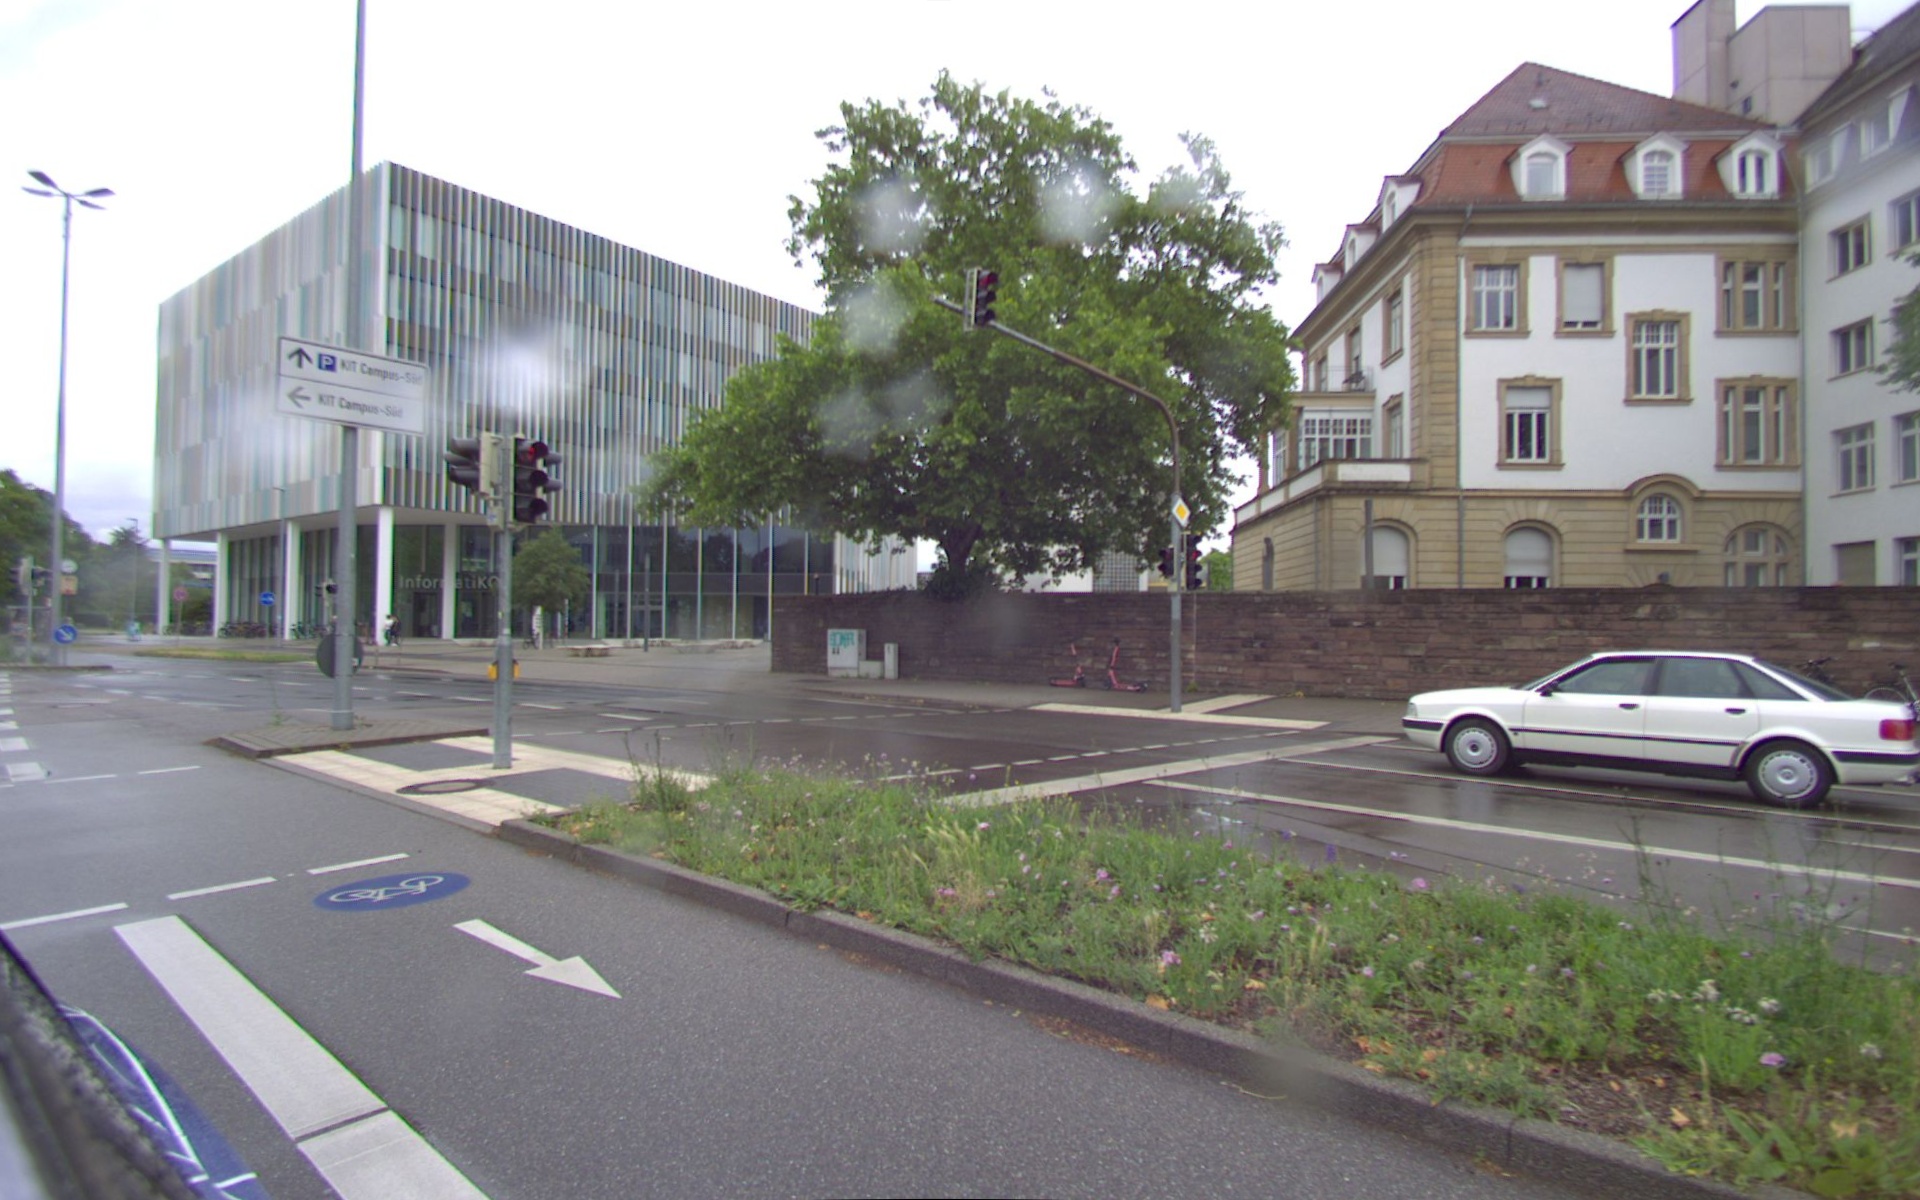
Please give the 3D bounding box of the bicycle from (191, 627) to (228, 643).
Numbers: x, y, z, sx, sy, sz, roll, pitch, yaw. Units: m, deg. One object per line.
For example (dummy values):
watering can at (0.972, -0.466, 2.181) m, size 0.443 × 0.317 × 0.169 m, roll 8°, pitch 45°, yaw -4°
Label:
bicycle at (-59.061, 2.739, 79.634) m, size 2.250 × 1.231 × 0.600 m, roll 2°, pitch -3°, yaw -40°

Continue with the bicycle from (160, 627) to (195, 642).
bicycle at (-64.699, 2.831, 83.654) m, size 2.250 × 1.231 × 0.600 m, roll 2°, pitch -3°, yaw -40°

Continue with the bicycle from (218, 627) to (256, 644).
bicycle at (-53.410, 2.617, 74.773) m, size 2.250 × 1.231 × 0.600 m, roll 2°, pitch -3°, yaw -40°

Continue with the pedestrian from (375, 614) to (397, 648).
pedestrian at (-31.876, 1.728, 56.194) m, size 0.619 × 1.838 × 0.782 m, roll 0°, pitch -2°, yaw 17°

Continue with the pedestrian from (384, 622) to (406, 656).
pedestrian at (-30.931, 2.150, 55.414) m, size 0.619 × 1.838 × 0.782 m, roll 0°, pitch -2°, yaw 17°

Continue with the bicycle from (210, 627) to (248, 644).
bicycle at (-54.782, 2.662, 75.878) m, size 2.250 × 1.231 × 0.600 m, roll 2°, pitch -3°, yaw -40°

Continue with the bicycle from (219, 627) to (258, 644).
bicycle at (-52.866, 2.600, 74.137) m, size 2.250 × 1.231 × 0.600 m, roll 2°, pitch -3°, yaw -40°

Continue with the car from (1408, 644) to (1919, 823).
car at (7.158, 1.212, 10.289) m, size 4.522 × 1.426 × 1.579 m, roll -1°, pitch -4°, yaw 42°

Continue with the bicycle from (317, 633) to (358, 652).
bicycle at (-40.638, 2.766, 66.089) m, size 0.596 × 1.231 × 2.264 m, roll -1°, pitch -2°, yaw 28°

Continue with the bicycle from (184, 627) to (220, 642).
bicycle at (-60.585, 2.770, 80.895) m, size 2.250 × 1.231 × 0.600 m, roll 2°, pitch -3°, yaw -40°

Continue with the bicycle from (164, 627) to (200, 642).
bicycle at (-62.992, 2.786, 81.932) m, size 2.250 × 1.231 × 0.600 m, roll 2°, pitch -3°, yaw -40°

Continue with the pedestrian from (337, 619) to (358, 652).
pedestrian at (-34.643, 2.018, 57.254) m, size 0.908 × 1.838 × 0.942 m, roll 2°, pitch -3°, yaw -34°

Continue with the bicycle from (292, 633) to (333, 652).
bicycle at (-42.716, 2.771, 66.745) m, size 0.596 × 1.231 × 2.264 m, roll -1°, pitch -2°, yaw 28°

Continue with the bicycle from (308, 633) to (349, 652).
bicycle at (-41.314, 2.766, 66.235) m, size 0.596 × 1.231 × 2.264 m, roll -1°, pitch -2°, yaw 28°

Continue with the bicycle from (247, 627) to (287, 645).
bicycle at (-49.312, 2.556, 72.018) m, size 2.250 × 1.231 × 0.600 m, roll 2°, pitch -3°, yaw -40°

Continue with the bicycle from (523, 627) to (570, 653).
bicycle at (-20.220, 1.944, 49.536) m, size 0.596 × 1.231 × 2.264 m, roll -1°, pitch -2°, yaw 28°

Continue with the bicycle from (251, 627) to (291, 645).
bicycle at (-48.504, 2.538, 71.292) m, size 2.250 × 1.231 × 0.600 m, roll 2°, pitch -3°, yaw -40°

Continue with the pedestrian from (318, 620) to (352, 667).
pedestrian at (-24.839, 1.730, 40.243) m, size 0.789 × 1.838 × 0.782 m, roll 0°, pitch -2°, yaw 17°

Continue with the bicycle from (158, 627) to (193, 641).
bicycle at (-66.318, 2.883, 85.545) m, size 2.250 × 1.231 × 0.600 m, roll 2°, pitch -3°, yaw -40°

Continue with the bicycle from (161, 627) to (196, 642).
bicycle at (-63.828, 2.804, 82.665) m, size 2.250 × 1.231 × 0.600 m, roll 2°, pitch -3°, yaw -40°

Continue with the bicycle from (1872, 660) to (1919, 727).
bicycle at (15.340, 1.460, 15.659) m, size 1.694 × 0.990 × 0.726 m, roll -1°, pitch -2°, yaw 30°

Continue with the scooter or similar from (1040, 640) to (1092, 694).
scooter or similar at (2.520, 1.579, 24.115) m, size 1.140 × 1.206 × 0.387 m, roll -1°, pitch 4°, yaw 36°

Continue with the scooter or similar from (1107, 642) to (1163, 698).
scooter or similar at (3.981, 1.578, 23.013) m, size 1.139 × 1.206 × 0.387 m, roll -1°, pitch 4°, yaw 35°

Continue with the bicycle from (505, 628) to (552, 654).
bicycle at (-21.227, 2.013, 49.859) m, size 0.596 × 1.231 × 2.264 m, roll -1°, pitch -2°, yaw 28°

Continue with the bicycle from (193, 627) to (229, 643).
bicycle at (-59.418, 2.759, 80.308) m, size 2.250 × 1.231 × 0.600 m, roll 2°, pitch -3°, yaw -40°

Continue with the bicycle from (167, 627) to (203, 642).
bicycle at (-62.293, 2.773, 81.391) m, size 2.250 × 1.231 × 0.600 m, roll 2°, pitch -3°, yaw -40°

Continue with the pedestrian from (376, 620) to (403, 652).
pedestrian at (-32.548, 2.055, 57.781) m, size 0.916 × 1.838 × 0.934 m, roll 0°, pitch -2°, yaw 17°

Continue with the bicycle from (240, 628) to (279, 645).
bicycle at (-50.745, 2.659, 73.341) m, size 2.250 × 1.231 × 0.600 m, roll 2°, pitch -3°, yaw -40°

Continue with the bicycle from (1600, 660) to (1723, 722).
bicycle at (12.240, 1.570, 17.717) m, size 1.694 × 0.990 × 0.726 m, roll -1°, pitch -2°, yaw 30°

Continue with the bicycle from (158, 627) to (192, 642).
bicycle at (-65.866, 2.865, 84.911) m, size 2.250 × 1.231 × 0.600 m, roll 2°, pitch -3°, yaw -40°

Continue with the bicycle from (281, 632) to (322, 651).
bicycle at (-43.722, 2.780, 67.247) m, size 0.596 × 1.231 × 2.264 m, roll -1°, pitch -2°, yaw 28°

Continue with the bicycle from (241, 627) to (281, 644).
bicycle at (-50.150, 2.570, 72.627) m, size 2.250 × 1.231 × 0.600 m, roll 2°, pitch -3°, yaw -40°
